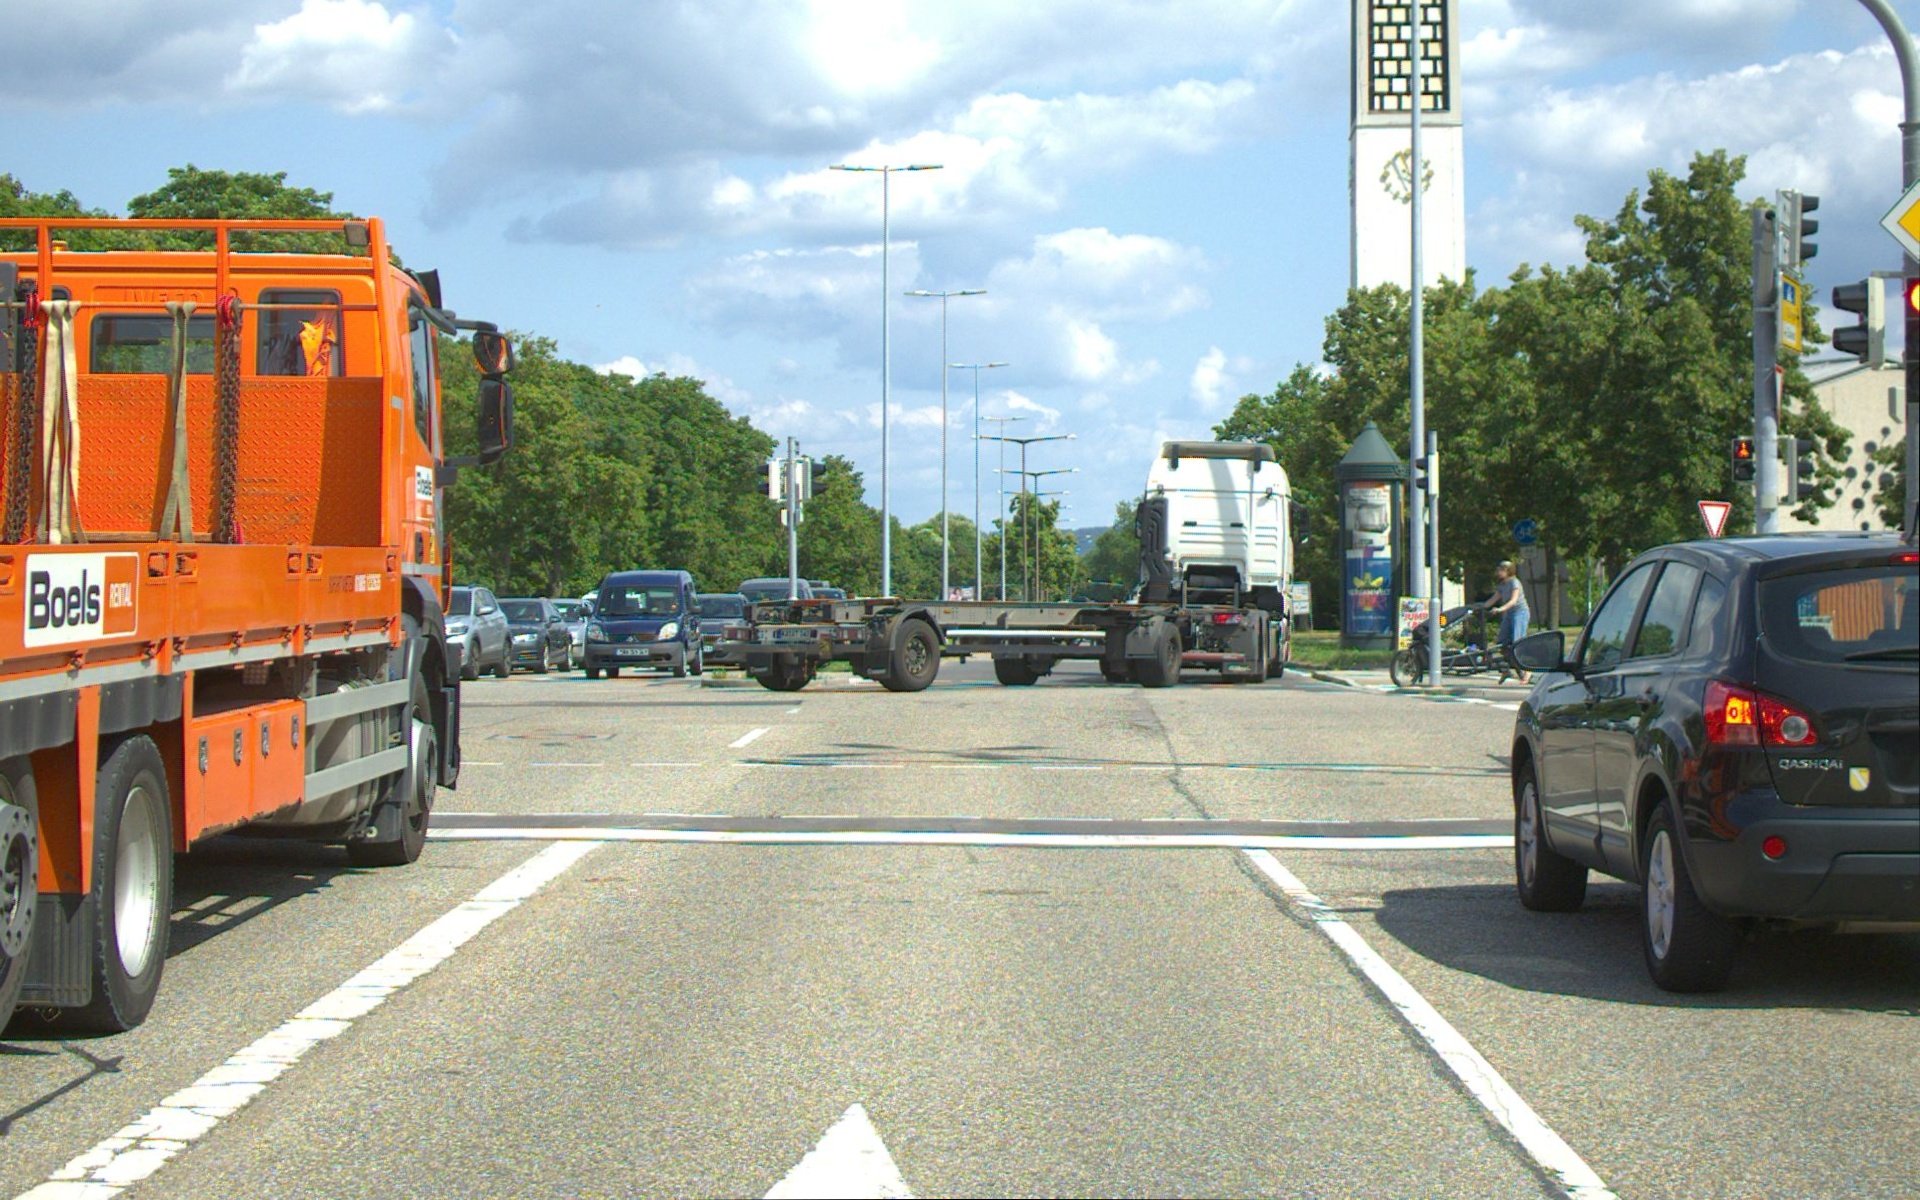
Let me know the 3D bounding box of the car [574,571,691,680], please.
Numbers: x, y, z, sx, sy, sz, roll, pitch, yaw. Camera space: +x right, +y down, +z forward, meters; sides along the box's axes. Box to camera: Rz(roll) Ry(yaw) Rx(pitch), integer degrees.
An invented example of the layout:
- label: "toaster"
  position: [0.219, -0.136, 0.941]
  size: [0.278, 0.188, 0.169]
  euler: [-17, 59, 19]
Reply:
- label: "car"
  position: [-5.331, 0.408, 56.343]
  size: [1.734, 1.654, 4.231]
  euler: [2, 0, -4]

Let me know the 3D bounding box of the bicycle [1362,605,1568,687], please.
- label: "bicycle"
  position: [7.081, 0.634, 48.146]
  size: [2.832, 1.108, 0.797]
  euler: [0, 0, -22]

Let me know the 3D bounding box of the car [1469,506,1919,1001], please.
- label: "car"
  position: [3.154, 0.511, 12.900]
  size: [1.799, 1.547, 4.000]
  euler: [2, 0, -1]

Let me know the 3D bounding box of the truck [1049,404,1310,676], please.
- label: "truck"
  position: [3.633, -0.851, 54.545]
  size: [2.961, 3.957, 8.633]
  euler: [0, 0, 11]

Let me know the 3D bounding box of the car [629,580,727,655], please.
- label: "car"
  position: [-5.230, 0.331, 64.121]
  size: [1.568, 1.311, 3.432]
  euler: [2, 0, -1]

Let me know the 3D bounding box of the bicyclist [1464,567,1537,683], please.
- label: "bicyclist"
  position: [7.599, 0.346, 48.349]
  size: [0.698, 1.610, 0.797]
  euler: [0, 0, -22]

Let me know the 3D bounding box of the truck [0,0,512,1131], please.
- label: "truck"
  position: [-3.823, -0.467, 12.178]
  size: [3.070, 3.402, 11.068]
  euler: [2, 0, -1]

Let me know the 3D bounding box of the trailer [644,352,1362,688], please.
- label: "trailer"
  position: [0.931, -0.916, 46.459]
  size: [3.628, 3.998, 11.293]
  euler: [0, 0, 38]

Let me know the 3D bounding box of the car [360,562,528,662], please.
- label: "car"
  position: [-8.521, 0.210, 57.105]
  size: [1.735, 1.538, 4.308]
  euler: [2, 0, 5]
